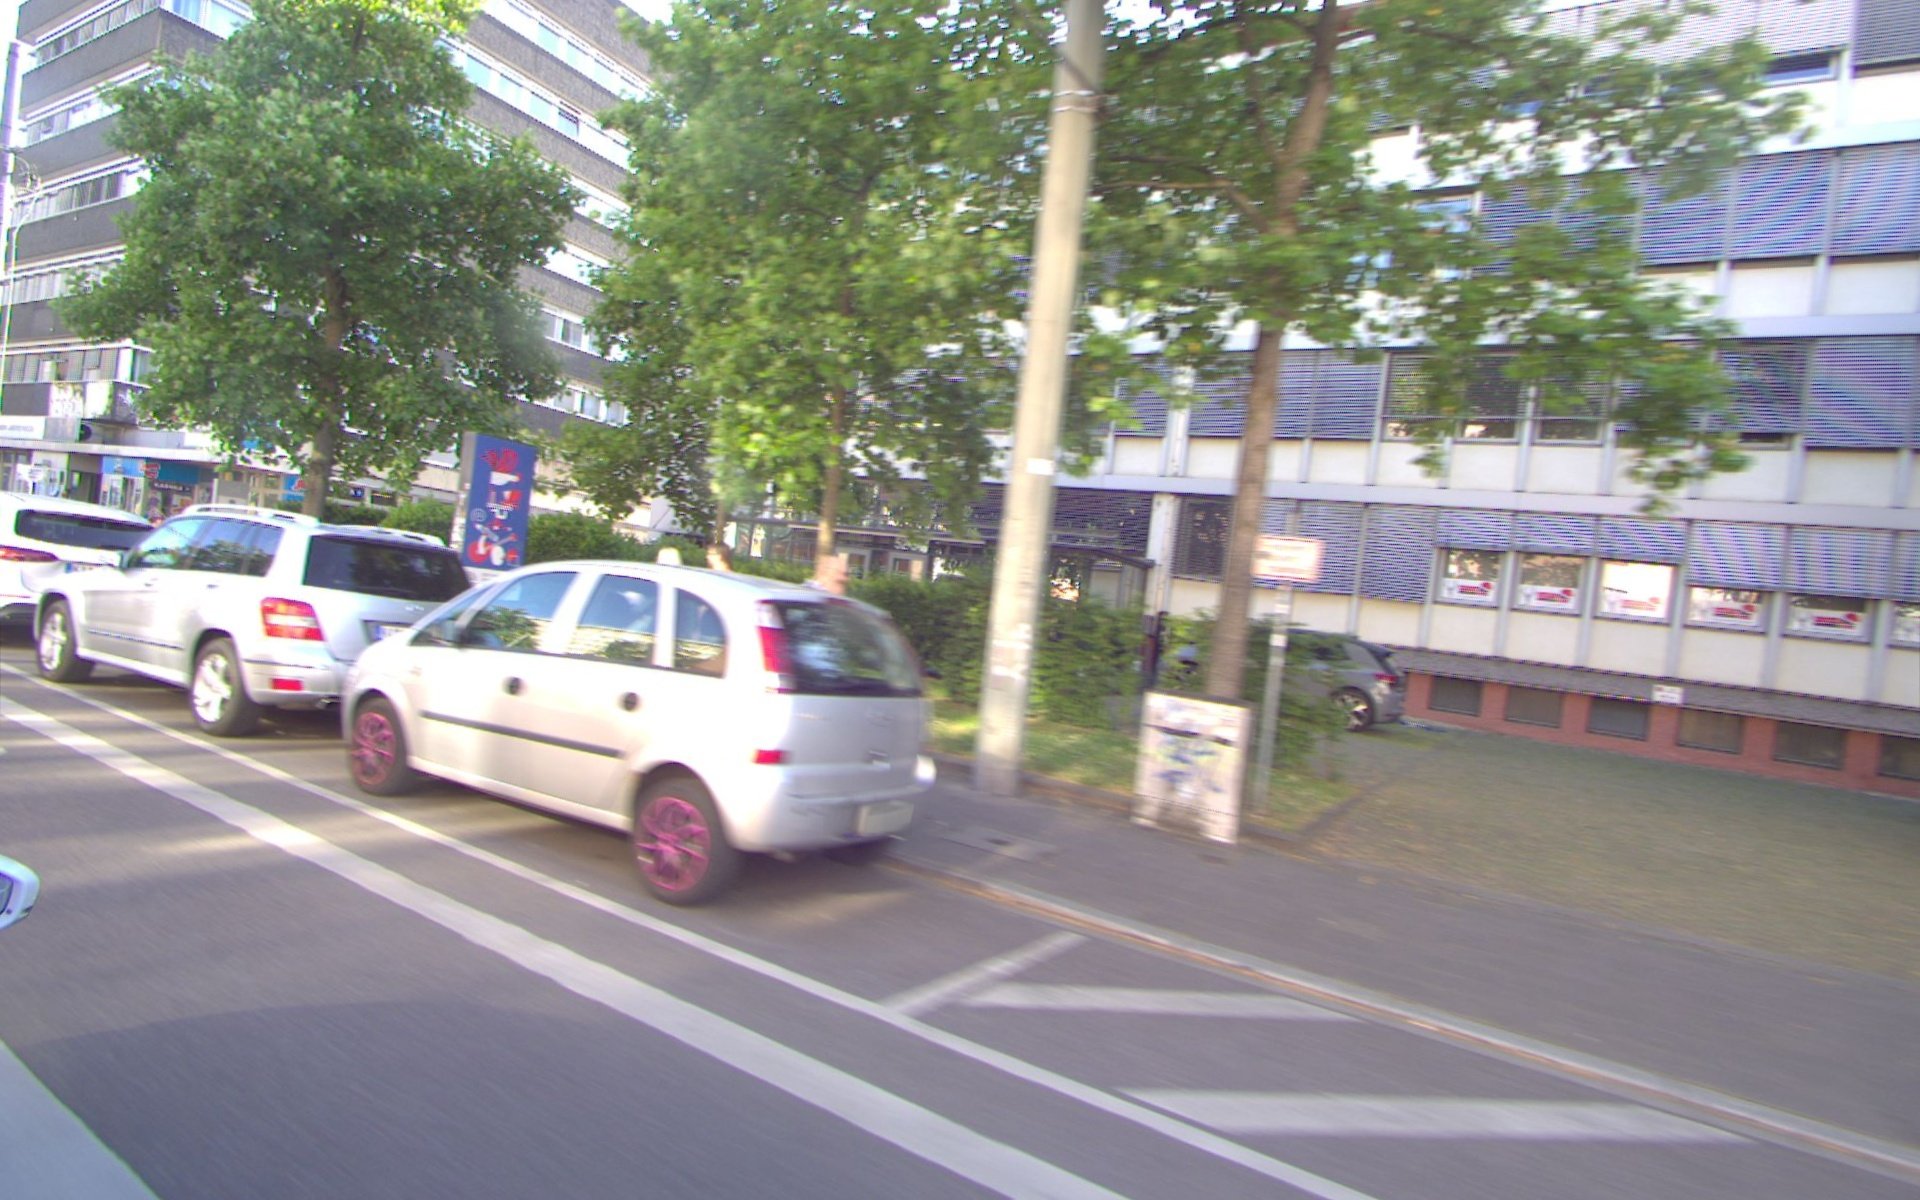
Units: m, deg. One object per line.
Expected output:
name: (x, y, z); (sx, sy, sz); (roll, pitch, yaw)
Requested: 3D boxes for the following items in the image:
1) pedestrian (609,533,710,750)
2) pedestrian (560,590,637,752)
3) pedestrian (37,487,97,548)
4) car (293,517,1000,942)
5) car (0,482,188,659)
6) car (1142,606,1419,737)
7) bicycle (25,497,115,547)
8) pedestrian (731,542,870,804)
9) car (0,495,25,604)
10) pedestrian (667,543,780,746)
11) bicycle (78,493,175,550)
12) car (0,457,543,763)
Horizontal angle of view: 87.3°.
pedestrian: (-2.900, 0.379, 9.683); (0.736, 1.981, 0.464); (7, 4, 37)
pedestrian: (-3.315, 0.639, 9.237); (0.416, 1.418, 0.455); (7, 4, 36)
pedestrian: (-28.457, -2.626, 32.067); (1.146, 1.750, 1.034); (7, 1, -34)
car: (-2.000, 0.570, 6.127); (3.996, 1.608, 1.718); (7, -2, 30)
car: (-10.626, -0.462, 11.196); (4.368, 1.588, 1.545); (7, -2, 30)
car: (5.610, 1.203, 17.716); (4.235, 1.555, 1.793); (8, 0, 29)
bicycle: (-27.926, -2.420, 31.627); (0.790, 1.233, 2.183); (7, -2, -1)
pedestrian: (-1.188, 0.530, 7.524); (0.593, 1.830, 0.611); (7, 1, 36)
car: (-15.042, -0.948, 14.103); (3.818, 1.459, 1.607); (6, -3, 29)
pedestrian: (-2.388, 0.435, 10.155); (0.736, 1.923, 0.667); (7, 4, 37)
bicycle: (-20.518, -1.922, 24.787); (0.569, 1.154, 1.682); (6, -1, 35)
car: (-6.031, -0.002, 8.595); (4.631, 1.855, 1.930); (7, -2, 29)
